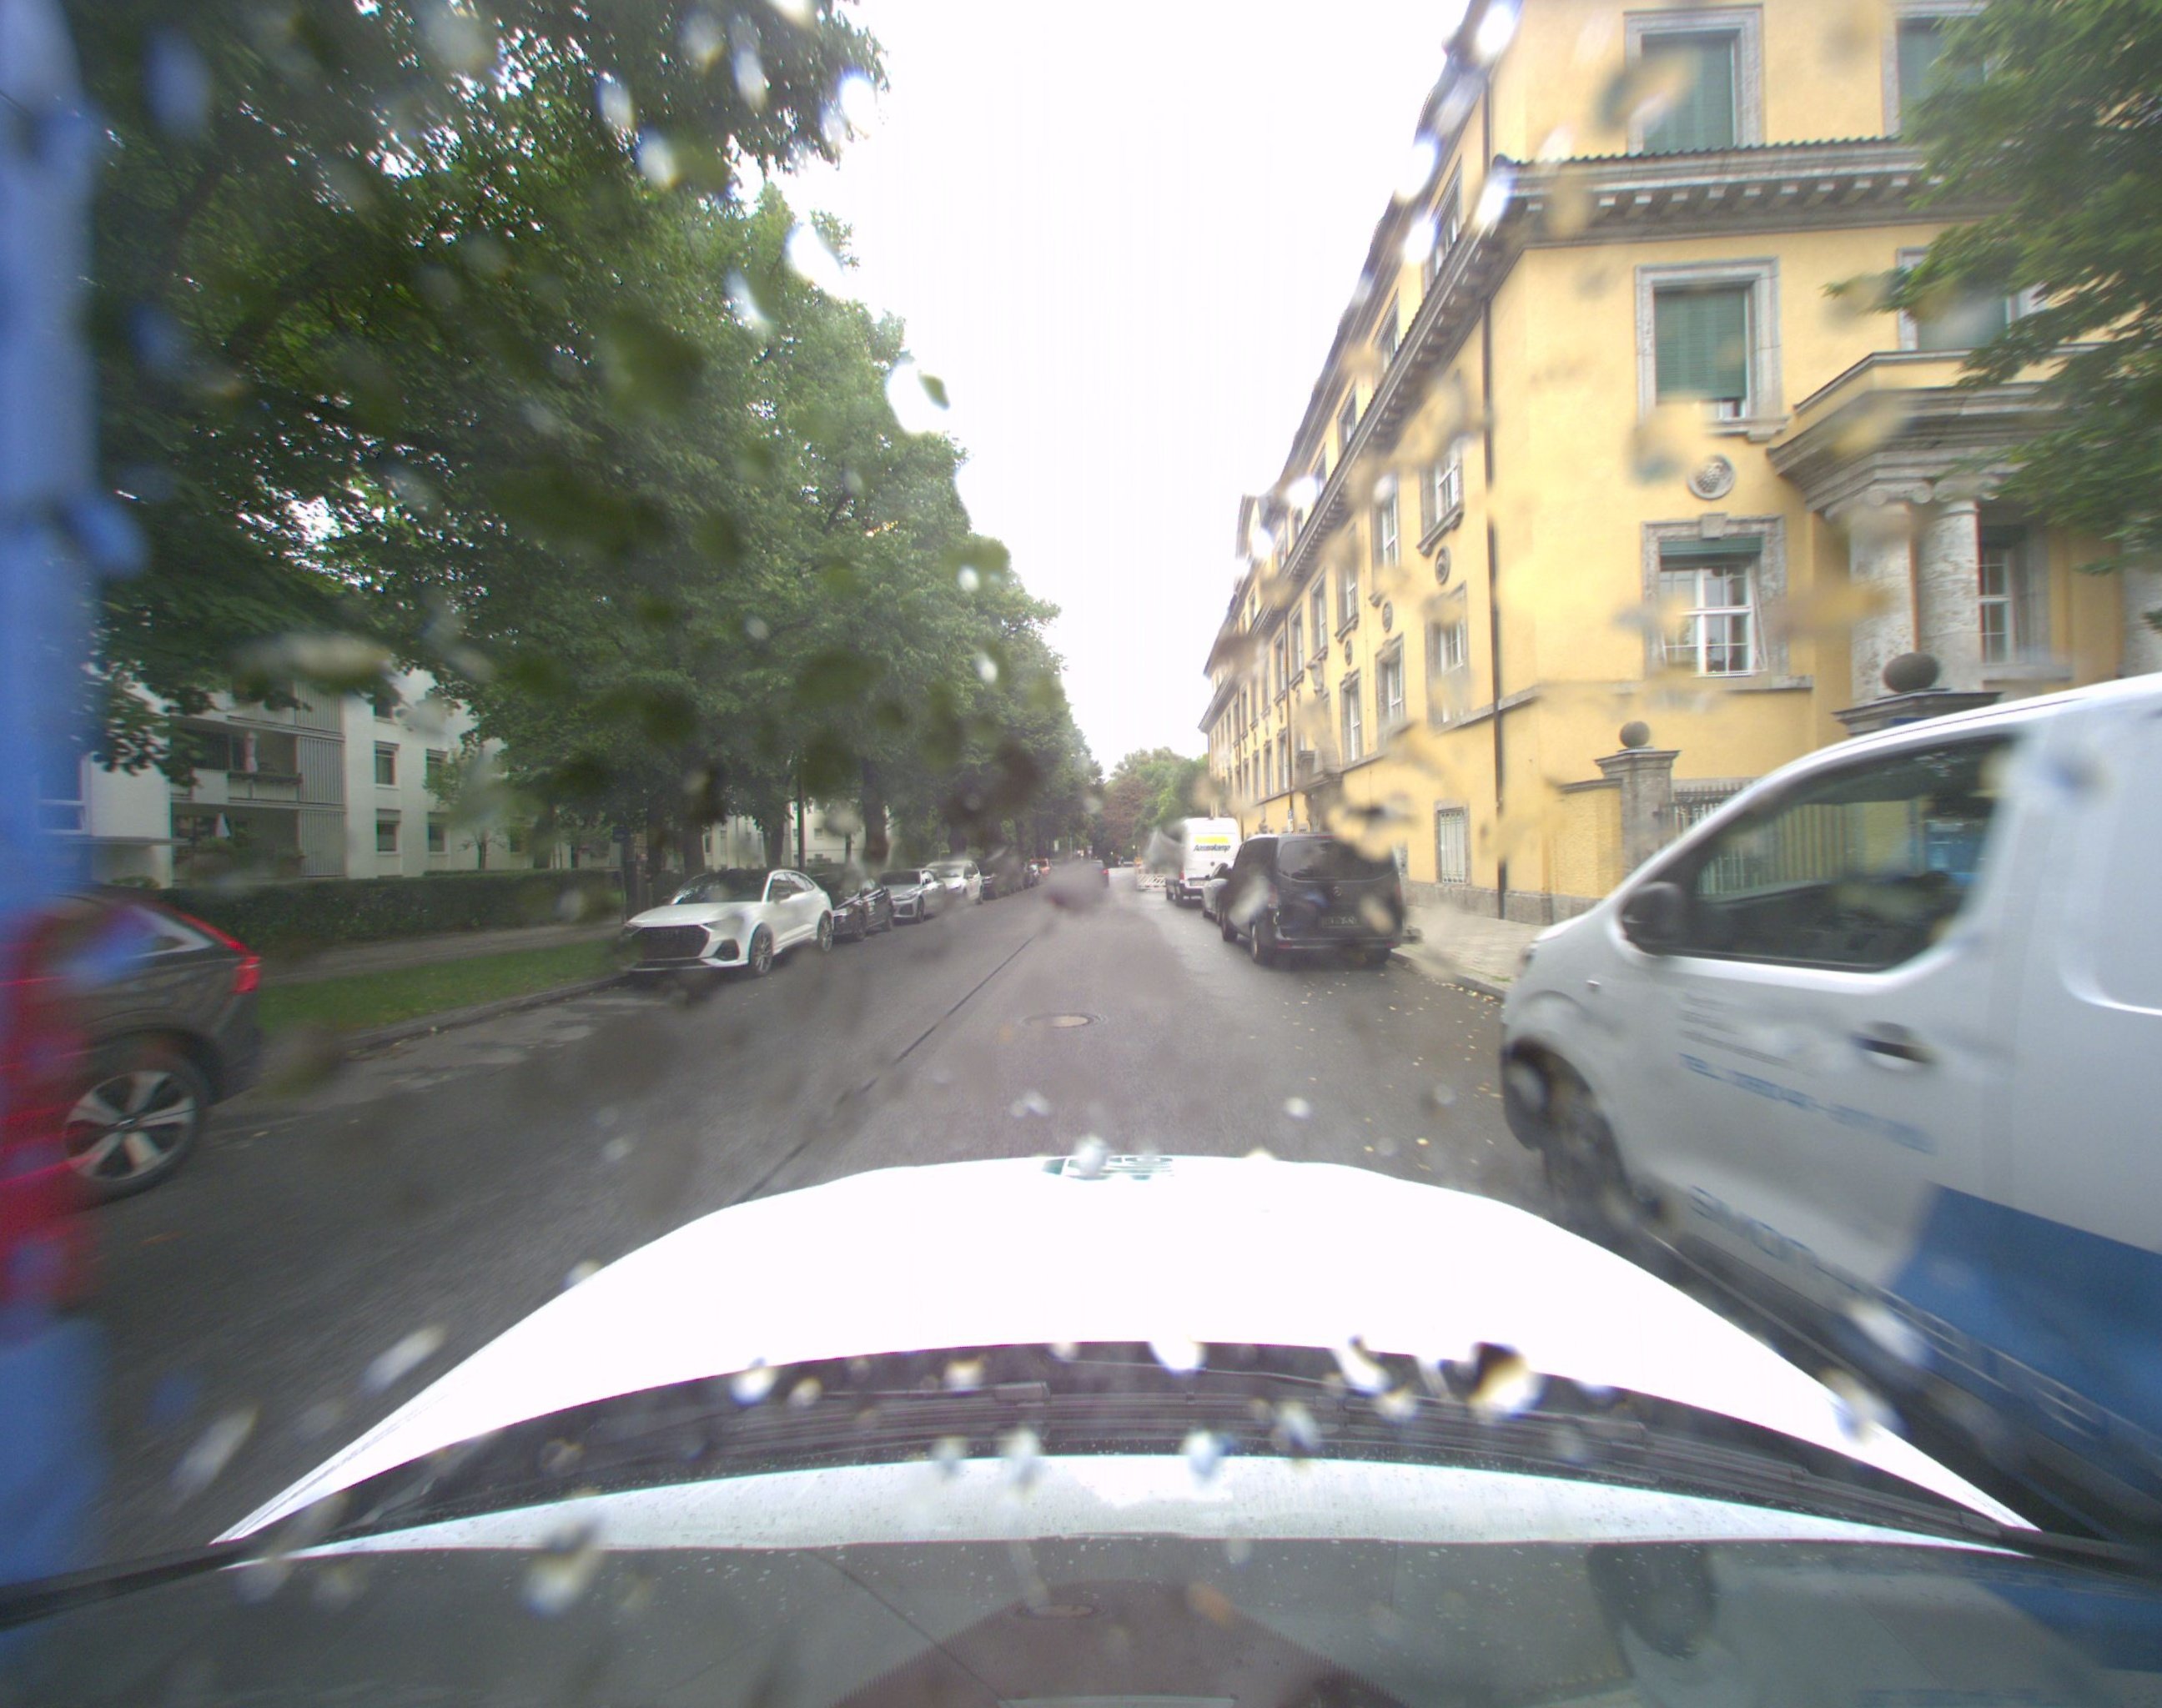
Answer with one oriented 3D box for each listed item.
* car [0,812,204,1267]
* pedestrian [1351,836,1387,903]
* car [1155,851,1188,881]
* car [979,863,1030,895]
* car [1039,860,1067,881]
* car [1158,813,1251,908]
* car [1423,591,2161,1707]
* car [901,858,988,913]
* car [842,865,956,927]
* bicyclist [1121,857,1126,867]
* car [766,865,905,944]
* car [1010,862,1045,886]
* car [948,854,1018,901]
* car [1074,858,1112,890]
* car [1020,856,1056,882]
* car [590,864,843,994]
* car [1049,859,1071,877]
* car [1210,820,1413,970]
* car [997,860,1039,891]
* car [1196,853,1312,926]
[{"bbox_3d":[-5.406,0.777,1.858,1.777,1.877,4.549,-2,-1,1],"label":"car"},{"bbox_3d":[8.125,0.432,22.963,0.697,1.804,0.583,-4,-2,2],"label":"pedestrian"},{"bbox_3d":[5.709,0.769,51.985,1.733,1.750,4.358,-2,-1,2],"label":"car"},{"bbox_3d":[-3.781,1.227,41.080,1.711,1.451,4.701,-2,-1,4],"label":"car"},{"bbox_3d":[-2.287,1.345,66.536,1.807,1.601,4.517,-2,-1,3],"label":"car"},{"bbox_3d":[3.905,0.229,27.177,2.047,2.673,7.616,-2,-1,1],"label":"car"},{"bbox_3d":[2.791,0.509,1.636,2.007,1.906,5.162,-1,0,0],"label":"car"},{"bbox_3d":[-4.615,1.015,28.214,1.757,1.622,4.528,-5,-1,5],"label":"car"},{"bbox_3d":[-4.963,1.084,22.933,1.802,1.469,5.001,-2,-1,3],"label":"car"},{"bbox_3d":[6.713,1.220,129.241,0.680,1.504,0.899,-2,-1,-5],"label":"bicyclist"},{"bbox_3d":[-5.211,1.006,17.875,1.666,1.469,4.105,-2,-1,1],"label":"car"},{"bbox_3d":[-3.369,1.258,52.227,1.720,1.423,4.254,-2,0,3],"label":"car"},{"bbox_3d":[-4.174,0.960,35.559,1.984,1.797,4.926,-3,-1,4],"label":"car"},{"bbox_3d":[0.698,1.047,43.981,1.569,1.584,4.051,-2,-1,7],"label":"car"},{"bbox_3d":[-3.002,1.056,57.980,1.864,1.728,4.646,-2,-1,4],"label":"car"},{"bbox_3d":[-5.366,0.993,12.782,1.777,1.597,4.585,-2,-1,1],"label":"car"},{"bbox_3d":[-1.812,1.240,72.175,1.571,1.497,4.203,-2,-1,3],"label":"car"},{"bbox_3d":[3.358,0.551,12.966,1.864,1.869,4.988,-2,-1,1],"label":"car"},{"bbox_3d":[-3.553,1.184,46.474,1.779,1.574,4.489,-2,0,3],"label":"car"},{"bbox_3d":[3.903,0.759,19.079,1.864,1.458,4.256,-2,-1,1],"label":"car"}]
